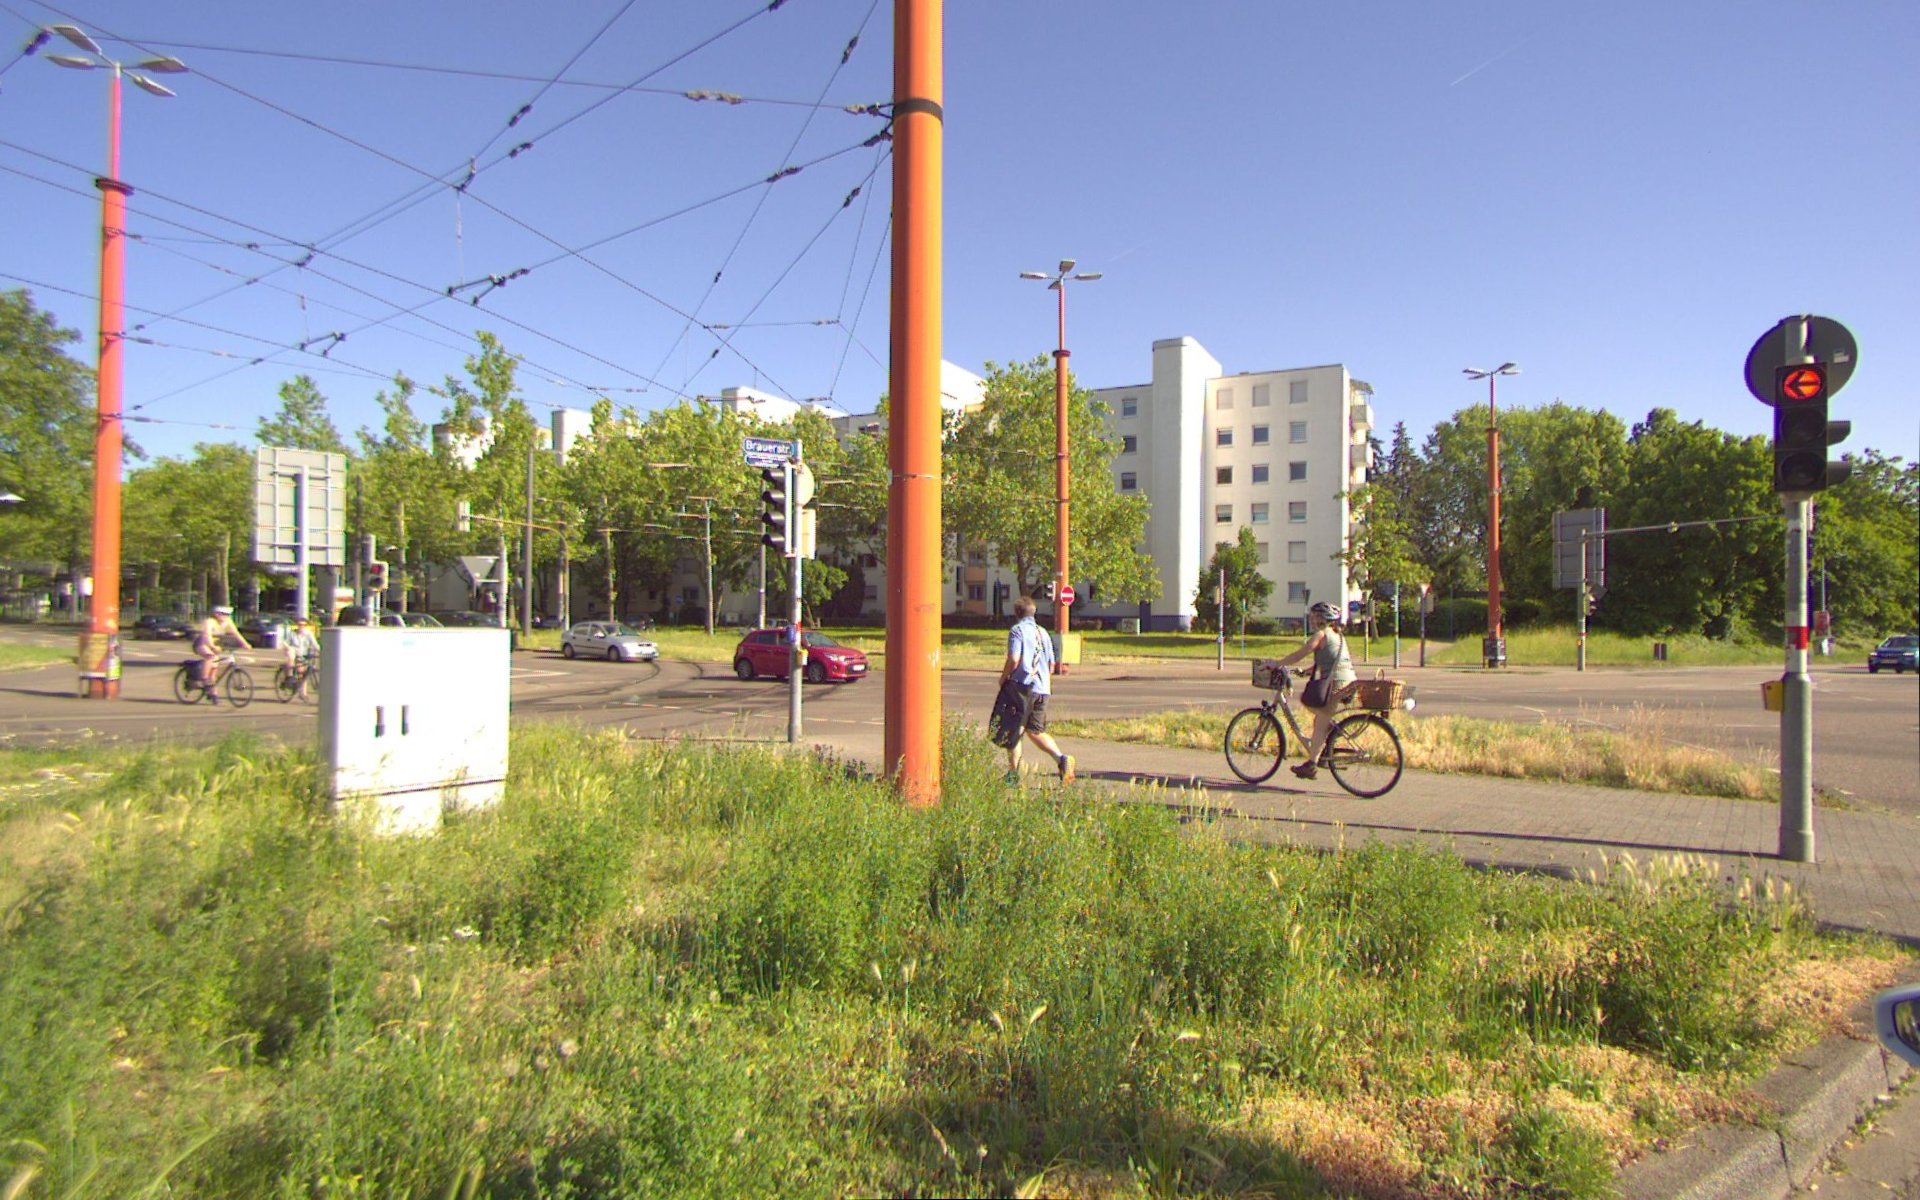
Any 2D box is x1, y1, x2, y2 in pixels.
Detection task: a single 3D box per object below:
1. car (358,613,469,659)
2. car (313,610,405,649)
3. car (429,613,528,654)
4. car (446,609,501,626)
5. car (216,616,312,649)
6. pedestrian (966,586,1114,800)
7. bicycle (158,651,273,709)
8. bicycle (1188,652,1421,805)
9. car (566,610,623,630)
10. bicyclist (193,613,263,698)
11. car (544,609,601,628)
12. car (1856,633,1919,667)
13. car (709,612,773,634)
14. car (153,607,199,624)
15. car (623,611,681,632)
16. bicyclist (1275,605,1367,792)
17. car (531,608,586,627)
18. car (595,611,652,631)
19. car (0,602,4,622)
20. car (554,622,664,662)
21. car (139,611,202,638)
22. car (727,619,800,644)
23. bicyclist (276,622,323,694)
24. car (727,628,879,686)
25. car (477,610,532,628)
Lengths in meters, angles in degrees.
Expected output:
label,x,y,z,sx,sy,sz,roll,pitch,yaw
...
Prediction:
label,x,y,z,sx,sy,sz,roll,pitch,yaw
car,-21.016,1.340,38.605,4.177,1.658,1.825,0,-1,30
car,-28.110,1.371,46.937,4.230,1.730,1.848,0,-1,30
car,-19.873,1.360,41.400,4.191,1.566,1.852,0,-1,34
car,-41.433,1.489,85.628,3.935,1.428,1.794,1,-1,-17
car,-31.326,1.452,45.199,4.283,1.368,1.763,0,-1,28
pedestrian,0.739,0.804,9.210,0.973,1.817,0.951,0,-1,38
bicycle,-14.037,1.501,18.959,1.612,0.974,0.685,2,-1,-1
bicycle,3.128,1.117,9.204,1.915,1.210,0.690,0,-1,33
car,-27.576,1.489,75.922,3.934,1.428,1.794,1,-1,-16
bicyclist,-13.802,1.039,18.966,0.752,1.565,0.732,1,-1,-1
car,-30.075,1.421,78.077,3.934,1.428,1.794,1,-1,-16
car,37.157,1.964,39.622,3.571,1.260,1.730,1,-1,-31
car,-14.541,1.554,66.844,1.770,1.428,3.987,0,-1,35
car,-93.987,1.885,120.459,1.969,2.040,3.984,0,-1,38
car,-22.254,1.551,72.648,3.934,1.428,1.794,1,-1,-16
bicyclist,3.281,0.858,9.111,0.651,1.605,0.671,0,-1,33
car,-31.937,1.372,79.974,3.935,1.428,1.794,1,-1,-17
car,-24.995,1.559,74.698,3.934,1.428,1.794,1,-1,-16
car,-81.916,0.997,84.539,4.246,1.730,1.841,-1,-2,43
car,-12.867,1.506,36.745,3.926,1.363,1.486,0,-1,27
car,-42.030,1.300,53.440,4.296,1.368,1.758,0,-2,39
car,-11.473,1.816,58.569,3.925,1.416,1.755,0,-1,26
bicyclist,-13.125,1.143,19.961,0.616,1.399,0.443,1,-1,-1
car,-4.384,1.537,27.969,3.992,1.454,1.683,0,-1,29
car,-38.030,1.571,83.886,3.935,1.428,1.794,1,-1,-17
